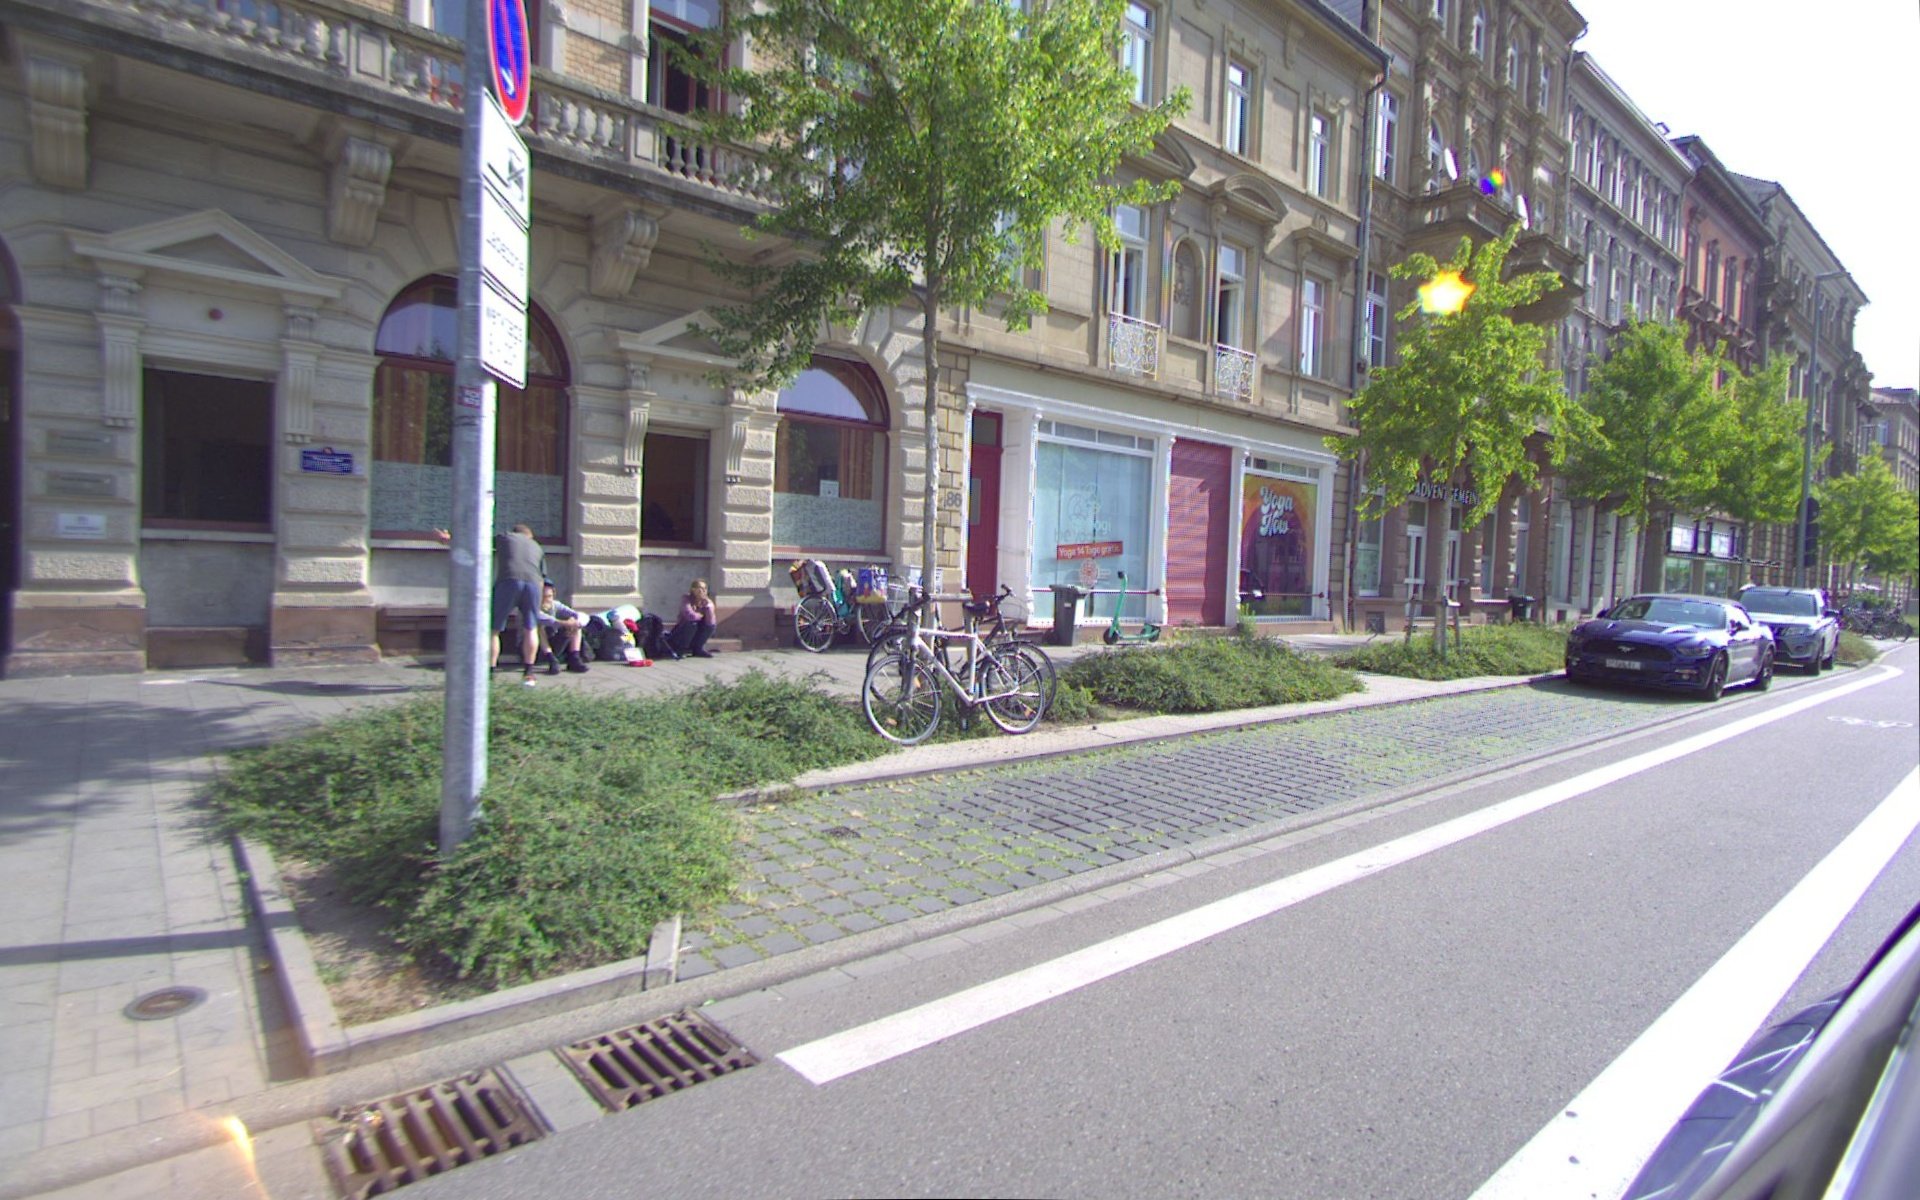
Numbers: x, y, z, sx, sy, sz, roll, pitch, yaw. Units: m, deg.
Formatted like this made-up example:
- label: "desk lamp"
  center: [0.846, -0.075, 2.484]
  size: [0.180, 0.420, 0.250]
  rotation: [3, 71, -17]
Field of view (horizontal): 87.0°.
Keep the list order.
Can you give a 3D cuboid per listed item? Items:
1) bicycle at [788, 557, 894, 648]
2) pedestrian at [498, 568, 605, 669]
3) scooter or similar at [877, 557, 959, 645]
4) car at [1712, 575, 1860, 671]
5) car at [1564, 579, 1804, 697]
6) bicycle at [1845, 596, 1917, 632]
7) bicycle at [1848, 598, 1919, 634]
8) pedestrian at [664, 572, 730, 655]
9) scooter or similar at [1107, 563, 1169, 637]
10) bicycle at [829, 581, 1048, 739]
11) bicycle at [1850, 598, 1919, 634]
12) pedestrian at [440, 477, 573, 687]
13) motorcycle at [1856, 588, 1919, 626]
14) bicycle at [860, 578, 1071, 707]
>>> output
- label: "bicycle"
  center: [-1.510, 0.015, 13.004]
  size: [0.450, 1.096, 1.427]
  rotation: [3, 3, 39]
- label: "pedestrian"
  center: [-4.056, 0.160, 10.035]
  size: [0.699, 0.887, 0.879]
  rotation: [0, 5, -44]
- label: "scooter or similar"
  center: [-0.565, 0.000, 13.763]
  size: [0.915, 1.138, 0.608]
  rotation: [0, 2, -41]
- label: "car"
  center: [16.541, 0.385, 20.201]
  size: [4.178, 1.607, 1.771]
  rotation: [0, 4, -45]
- label: "car"
  center: [10.953, 0.479, 15.177]
  size: [4.630, 1.413, 1.741]
  rotation: [0, 4, -40]
- label: "bicycle"
  center: [32.654, 0.474, 35.887]
  size: [1.808, 1.109, 0.661]
  rotation: [6, 5, 44]
- label: "bicycle"
  center: [31.754, 0.539, 34.749]
  size: [0.366, 1.066, 1.788]
  rotation: [0, 4, -41]
- label: "pedestrian"
  center: [-2.933, 0.139, 11.284]
  size: [0.570, 0.865, 0.450]
  rotation: [7, 5, 44]
- label: "scooter or similar"
  center: [2.875, -0.001, 16.339]
  size: [1.068, 1.148, 0.290]
  rotation: [0, 2, -35]
- label: "bicycle"
  center: [-0.128, 0.419, 7.947]
  size: [1.794, 1.107, 0.493]
  rotation: [0, 3, -41]
- label: "bicycle"
  center: [32.052, 0.535, 35.006]
  size: [0.366, 1.066, 1.788]
  rotation: [0, 4, -41]
- label: "pedestrian"
  center: [-3.973, -0.180, 8.856]
  size: [0.780, 1.716, 0.824]
  rotation: [0, 5, -45]
- label: "motorcycle"
  center: [35.792, 0.281, 38.752]
  size: [2.012, 1.302, 0.702]
  rotation: [4, 3, 14]
- label: "bicycle"
  center: [0.047, 0.367, 9.093]
  size: [1.842, 1.095, 0.455]
  rotation: [0, 3, 2]
